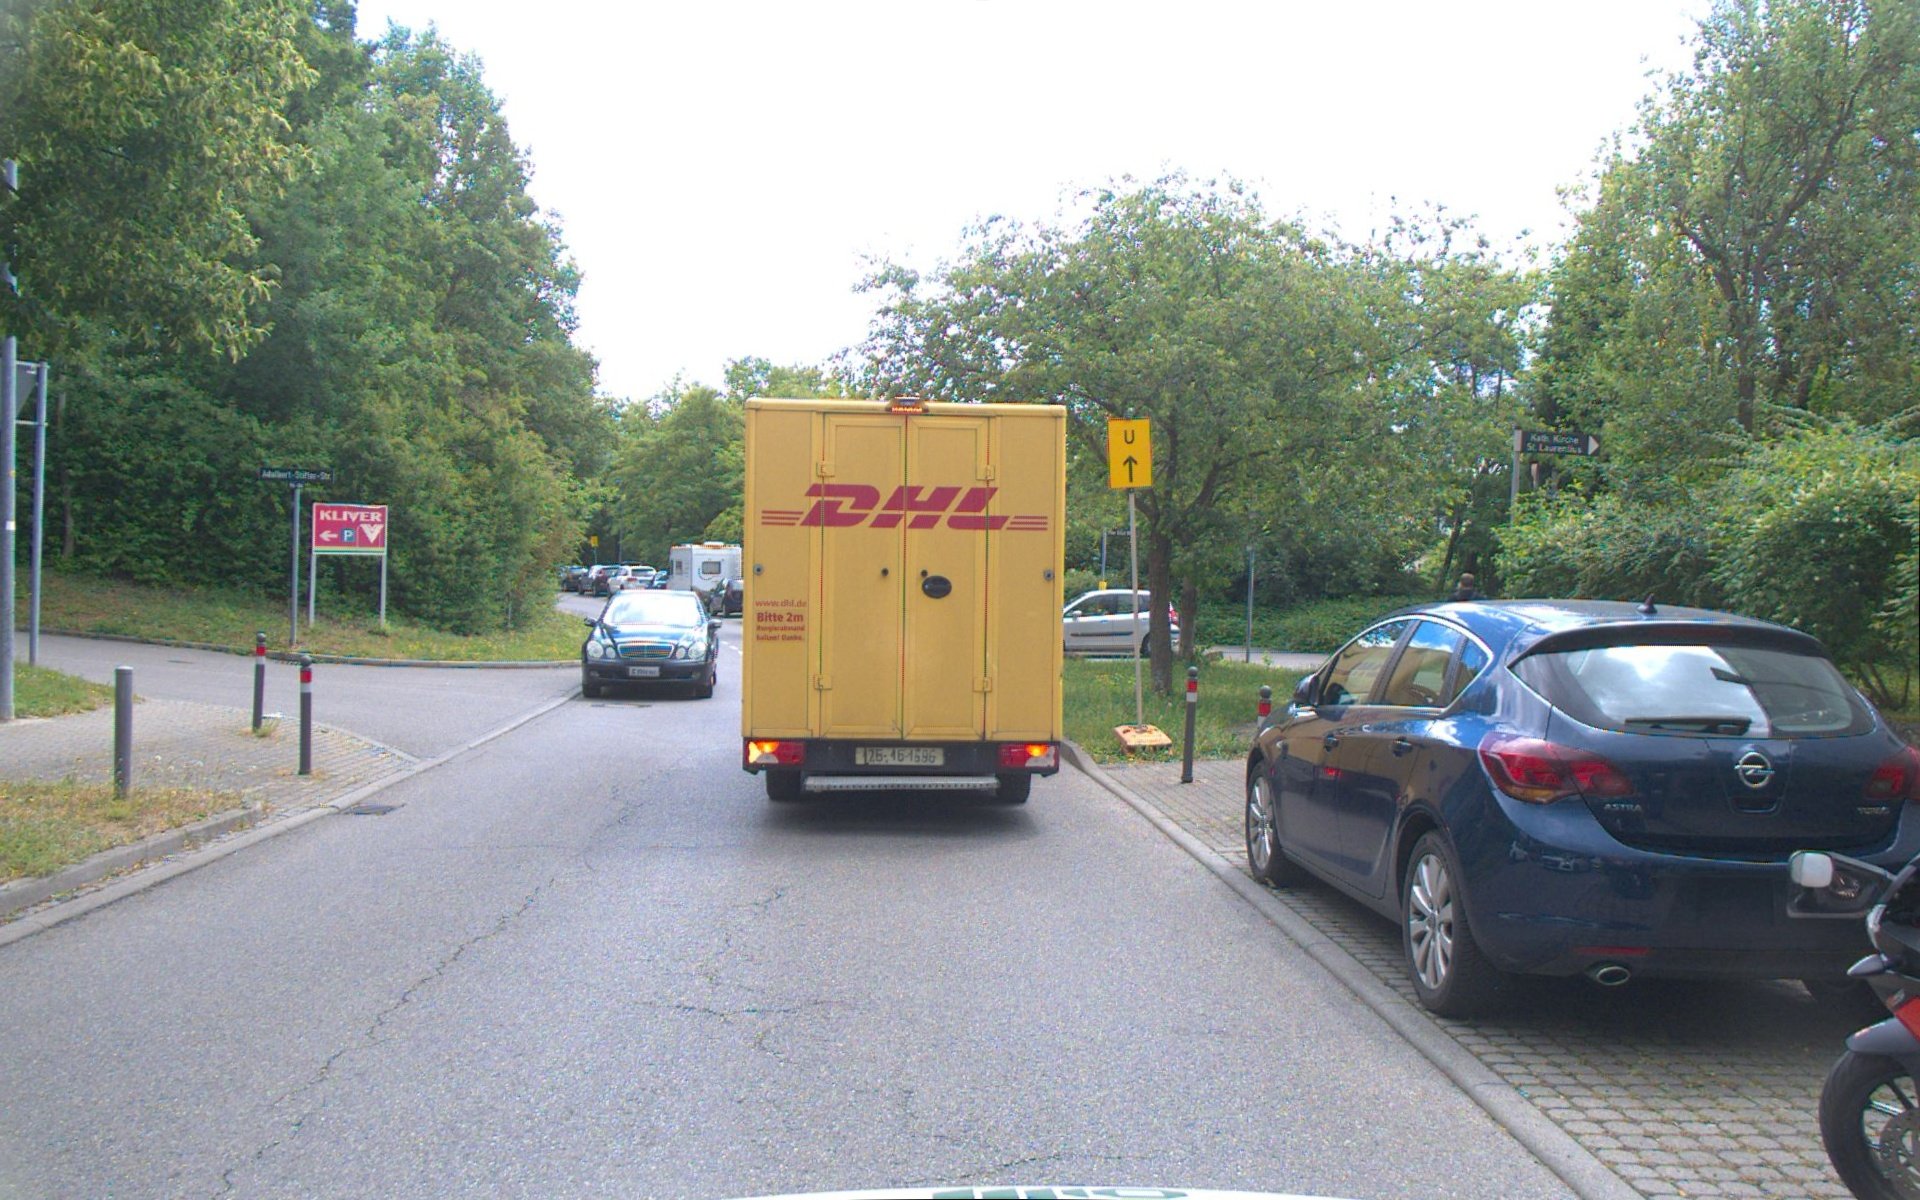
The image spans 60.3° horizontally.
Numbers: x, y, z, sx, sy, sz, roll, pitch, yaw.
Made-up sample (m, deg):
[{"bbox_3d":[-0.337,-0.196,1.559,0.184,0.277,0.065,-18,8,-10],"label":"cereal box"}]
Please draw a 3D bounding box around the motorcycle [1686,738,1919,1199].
[{"bbox_3d":[2.387,0.884,2.994,0.883,1.131,2.077,2,-2,-14],"label":"motorcycle"}]

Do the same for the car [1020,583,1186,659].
[{"bbox_3d":[3.233,0.457,37.847,3.557,1.511,1.691,3,1,-1],"label":"car"}]

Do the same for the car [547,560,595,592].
[{"bbox_3d":[-22.514,-1.387,95.570,1.821,1.641,3.967,2,2,-26],"label":"car"}]

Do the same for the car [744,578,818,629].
[{"bbox_3d":[-6.383,0.108,58.571,1.815,1.556,3.981,2,2,-18],"label":"car"}]

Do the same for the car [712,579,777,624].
[{"bbox_3d":[-8.586,0.053,65.606,1.815,1.556,3.981,2,2,-18],"label":"car"}]

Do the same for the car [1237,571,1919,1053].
[{"bbox_3d":[2.500,0.689,7.167,1.694,1.458,3.966,2,-1,-3],"label":"car"}]

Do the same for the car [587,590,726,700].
[{"bbox_3d":[-4.343,0.595,24.165,1.642,1.378,3.964,3,0,-6],"label":"car"}]

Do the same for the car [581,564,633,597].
[{"bbox_3d":[-19.236,-1.075,90.015,1.821,1.641,3.967,2,2,-26],"label":"car"}]

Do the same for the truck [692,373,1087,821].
[{"bbox_3d":[-0.663,-0.033,13.660,2.417,2.749,6.819,1,0,-4],"label":"truck"}]

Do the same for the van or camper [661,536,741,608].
[{"bbox_3d":[-11.370,-1.249,72.373,2.291,2.921,5.228,2,2,-22],"label":"van or camper"}]

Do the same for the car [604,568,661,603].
[{"bbox_3d":[-16.770,-0.762,84.579,1.821,1.556,3.967,2,2,-26],"label":"car"}]
